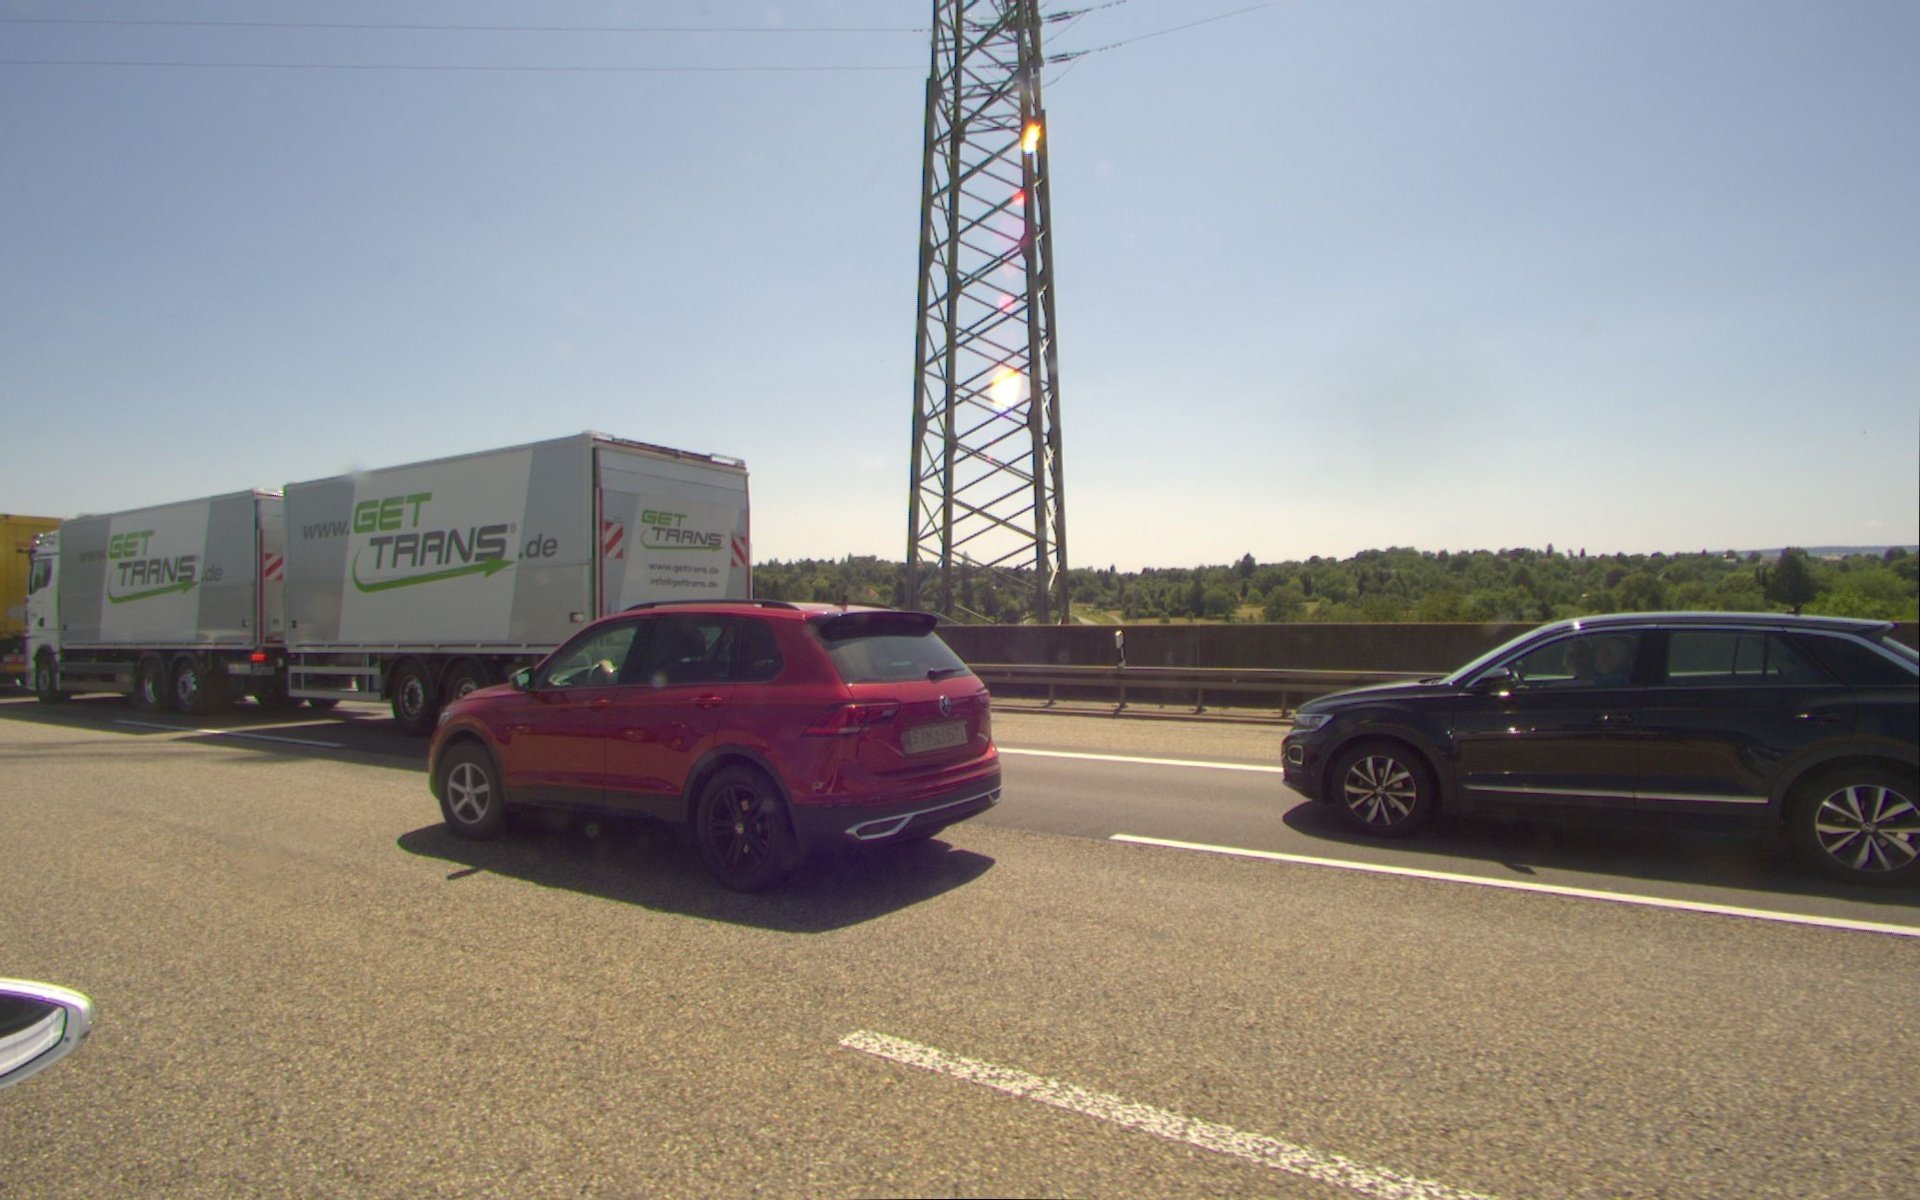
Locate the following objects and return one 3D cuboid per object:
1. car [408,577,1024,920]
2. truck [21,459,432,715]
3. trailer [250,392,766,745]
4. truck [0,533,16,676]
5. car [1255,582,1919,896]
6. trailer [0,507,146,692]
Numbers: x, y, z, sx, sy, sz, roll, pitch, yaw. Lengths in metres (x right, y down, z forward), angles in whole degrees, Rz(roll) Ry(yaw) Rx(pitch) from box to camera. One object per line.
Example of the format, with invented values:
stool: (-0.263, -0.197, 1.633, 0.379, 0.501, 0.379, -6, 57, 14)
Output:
car: (-1.808, 0.822, 6.871, 4.226, 1.700, 1.705, -2, -3, 34)
truck: (-14.660, -0.021, 19.579, 10.459, 3.984, 2.847, -2, -2, 32)
trailer: (-6.818, -0.209, 14.587, 8.098, 3.940, 2.894, -2, -2, 32)
truck: (-32.426, 0.218, 30.637, 9.797, 4.139, 2.695, -2, -2, 32)
car: (4.307, 0.809, 6.899, 4.060, 1.675, 1.705, -2, -2, 33)
trailer: (-24.502, 0.139, 25.789, 8.850, 4.139, 2.679, -2, -2, 31)
